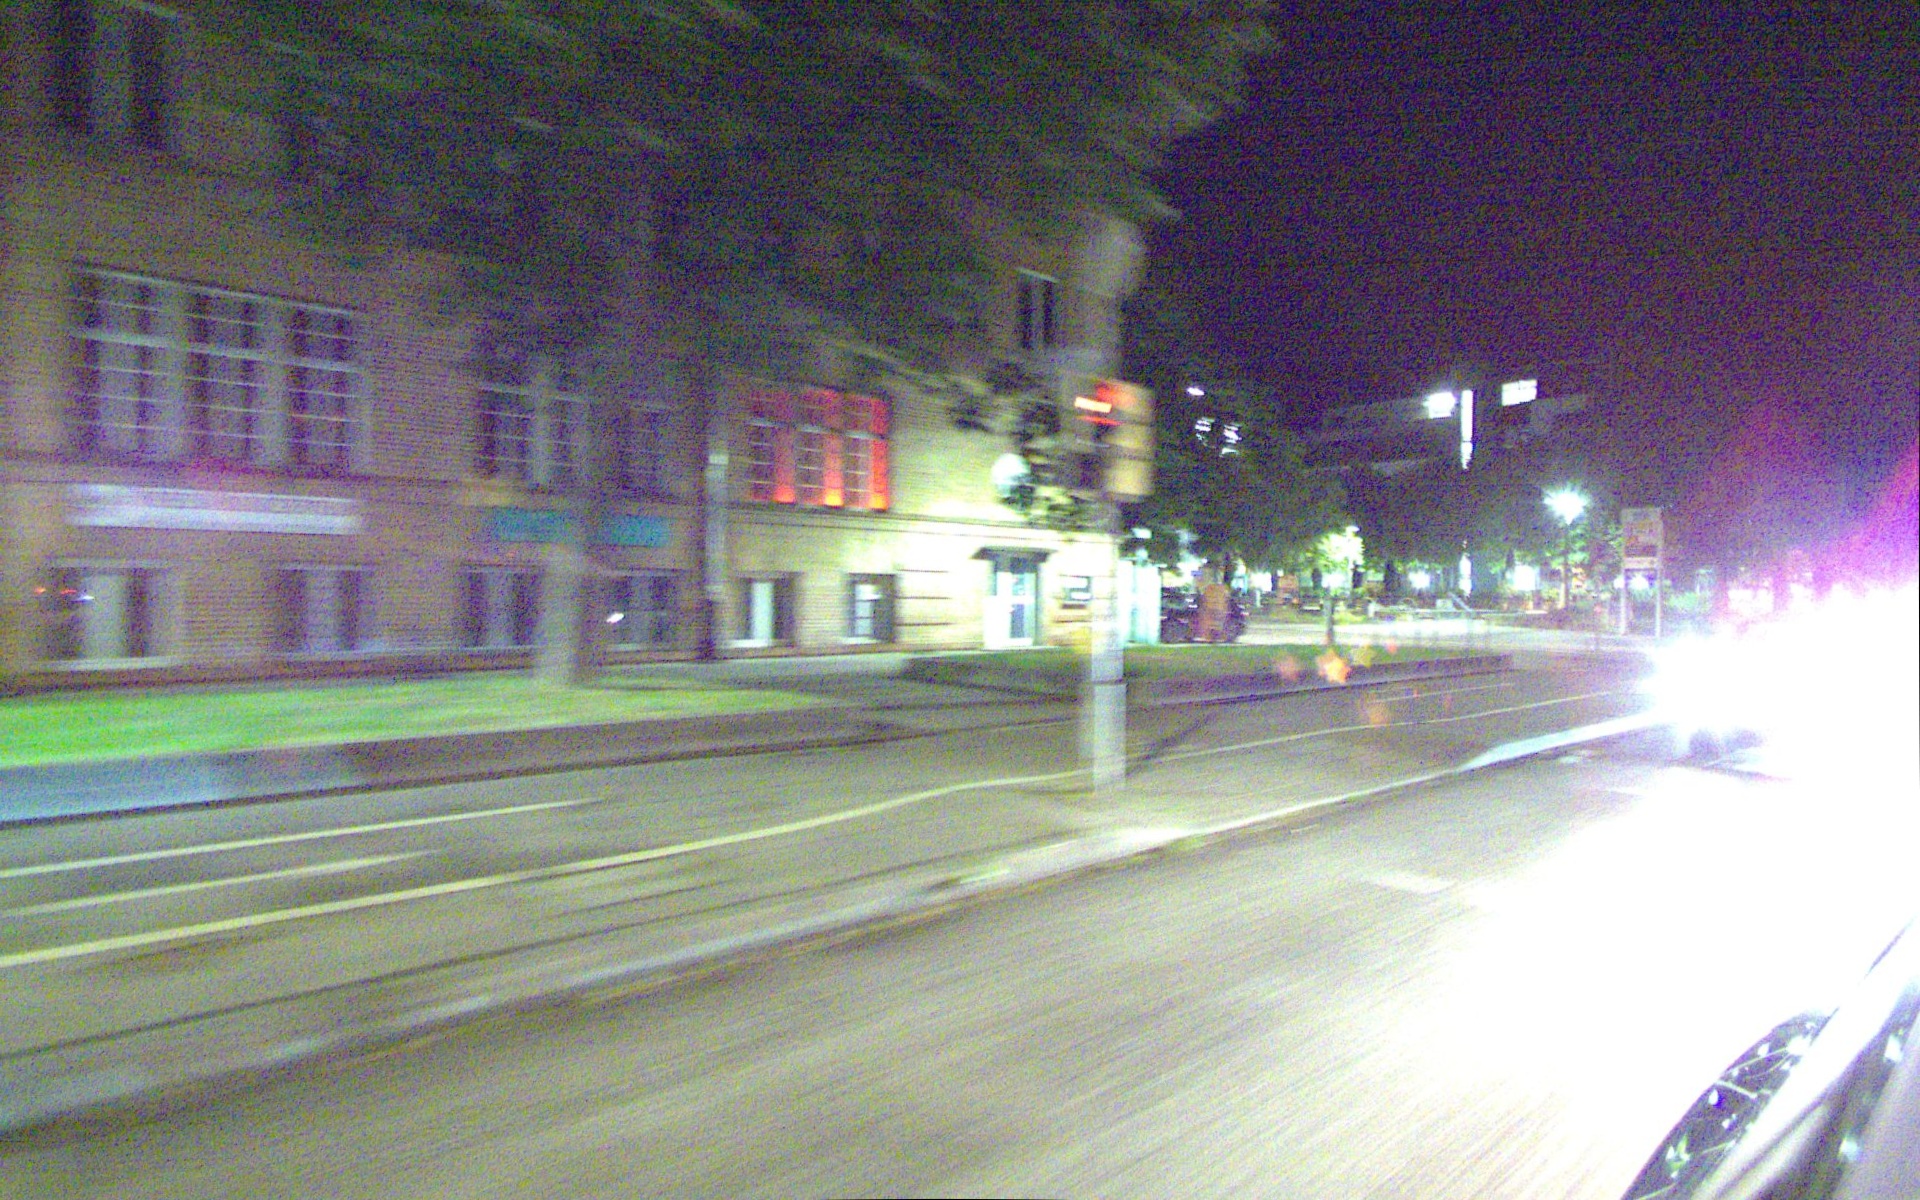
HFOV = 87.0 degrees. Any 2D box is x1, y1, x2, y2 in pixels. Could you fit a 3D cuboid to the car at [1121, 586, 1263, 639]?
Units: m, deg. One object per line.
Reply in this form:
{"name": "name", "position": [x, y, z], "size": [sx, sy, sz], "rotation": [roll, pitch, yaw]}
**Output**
{"name": "car", "position": [6.799, 0.304, 29.506], "size": [4.398, 1.412, 1.518], "rotation": [-1, 2, -36]}

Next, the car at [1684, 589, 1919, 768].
{"name": "car", "position": [9.045, 0.667, 10.456], "size": [3.930, 1.514, 1.640], "rotation": [0, -1, -41]}

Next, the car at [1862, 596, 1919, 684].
{"name": "car", "position": [18.490, 0.679, 18.868], "size": [4.645, 1.513, 1.808], "rotation": [0, -1, -40]}

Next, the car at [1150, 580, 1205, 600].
{"name": "car", "position": [16.795, -0.774, 77.971], "size": [4.225, 1.527, 1.998], "rotation": [0, 2, -41]}

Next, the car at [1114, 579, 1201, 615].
{"name": "car", "position": [9.050, -0.151, 46.128], "size": [4.026, 1.552, 1.772], "rotation": [0, 1, -40]}
